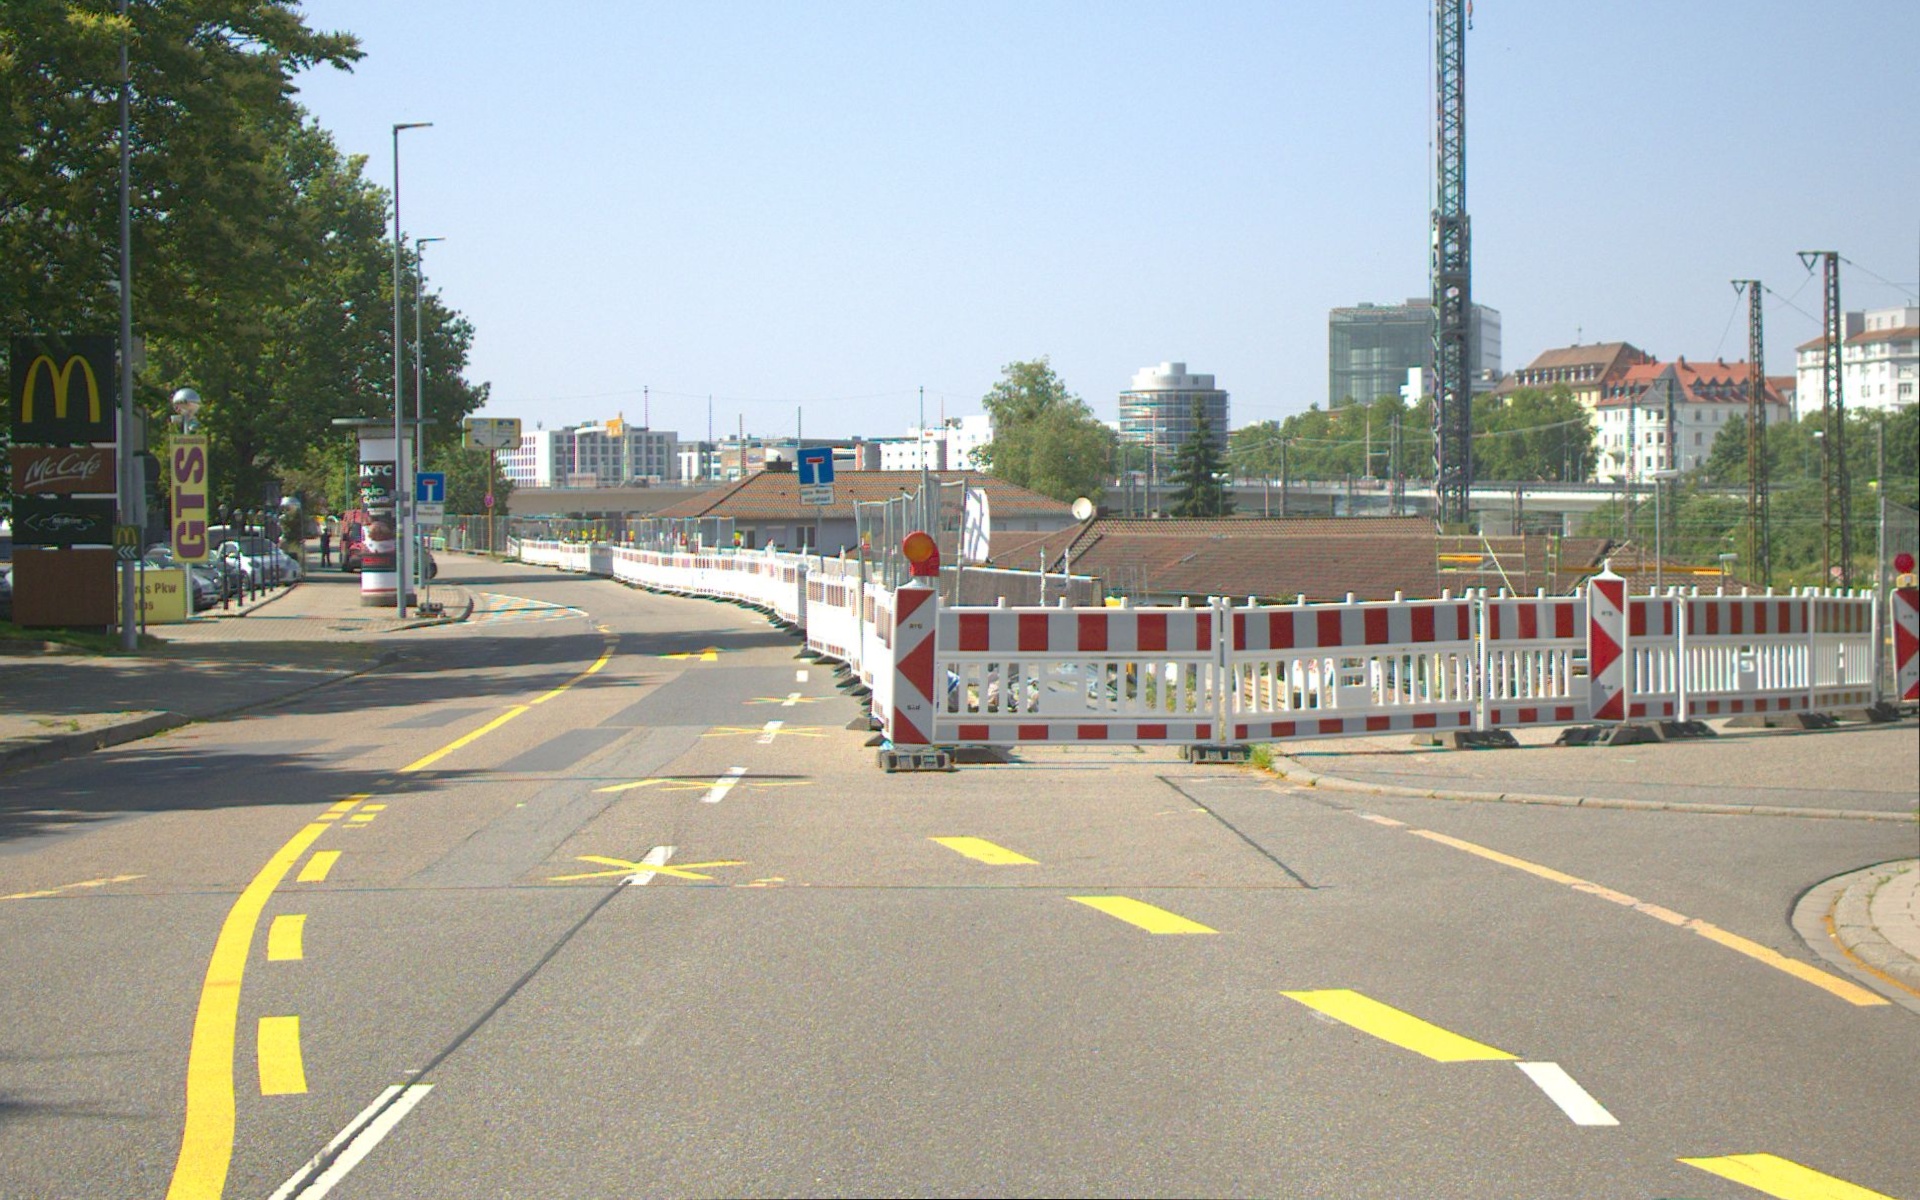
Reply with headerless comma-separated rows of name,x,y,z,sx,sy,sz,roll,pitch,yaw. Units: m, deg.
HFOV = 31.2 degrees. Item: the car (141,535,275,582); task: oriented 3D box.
car,-22.845,-1.254,104.458,3.678,1.416,1.571,0,1,14
